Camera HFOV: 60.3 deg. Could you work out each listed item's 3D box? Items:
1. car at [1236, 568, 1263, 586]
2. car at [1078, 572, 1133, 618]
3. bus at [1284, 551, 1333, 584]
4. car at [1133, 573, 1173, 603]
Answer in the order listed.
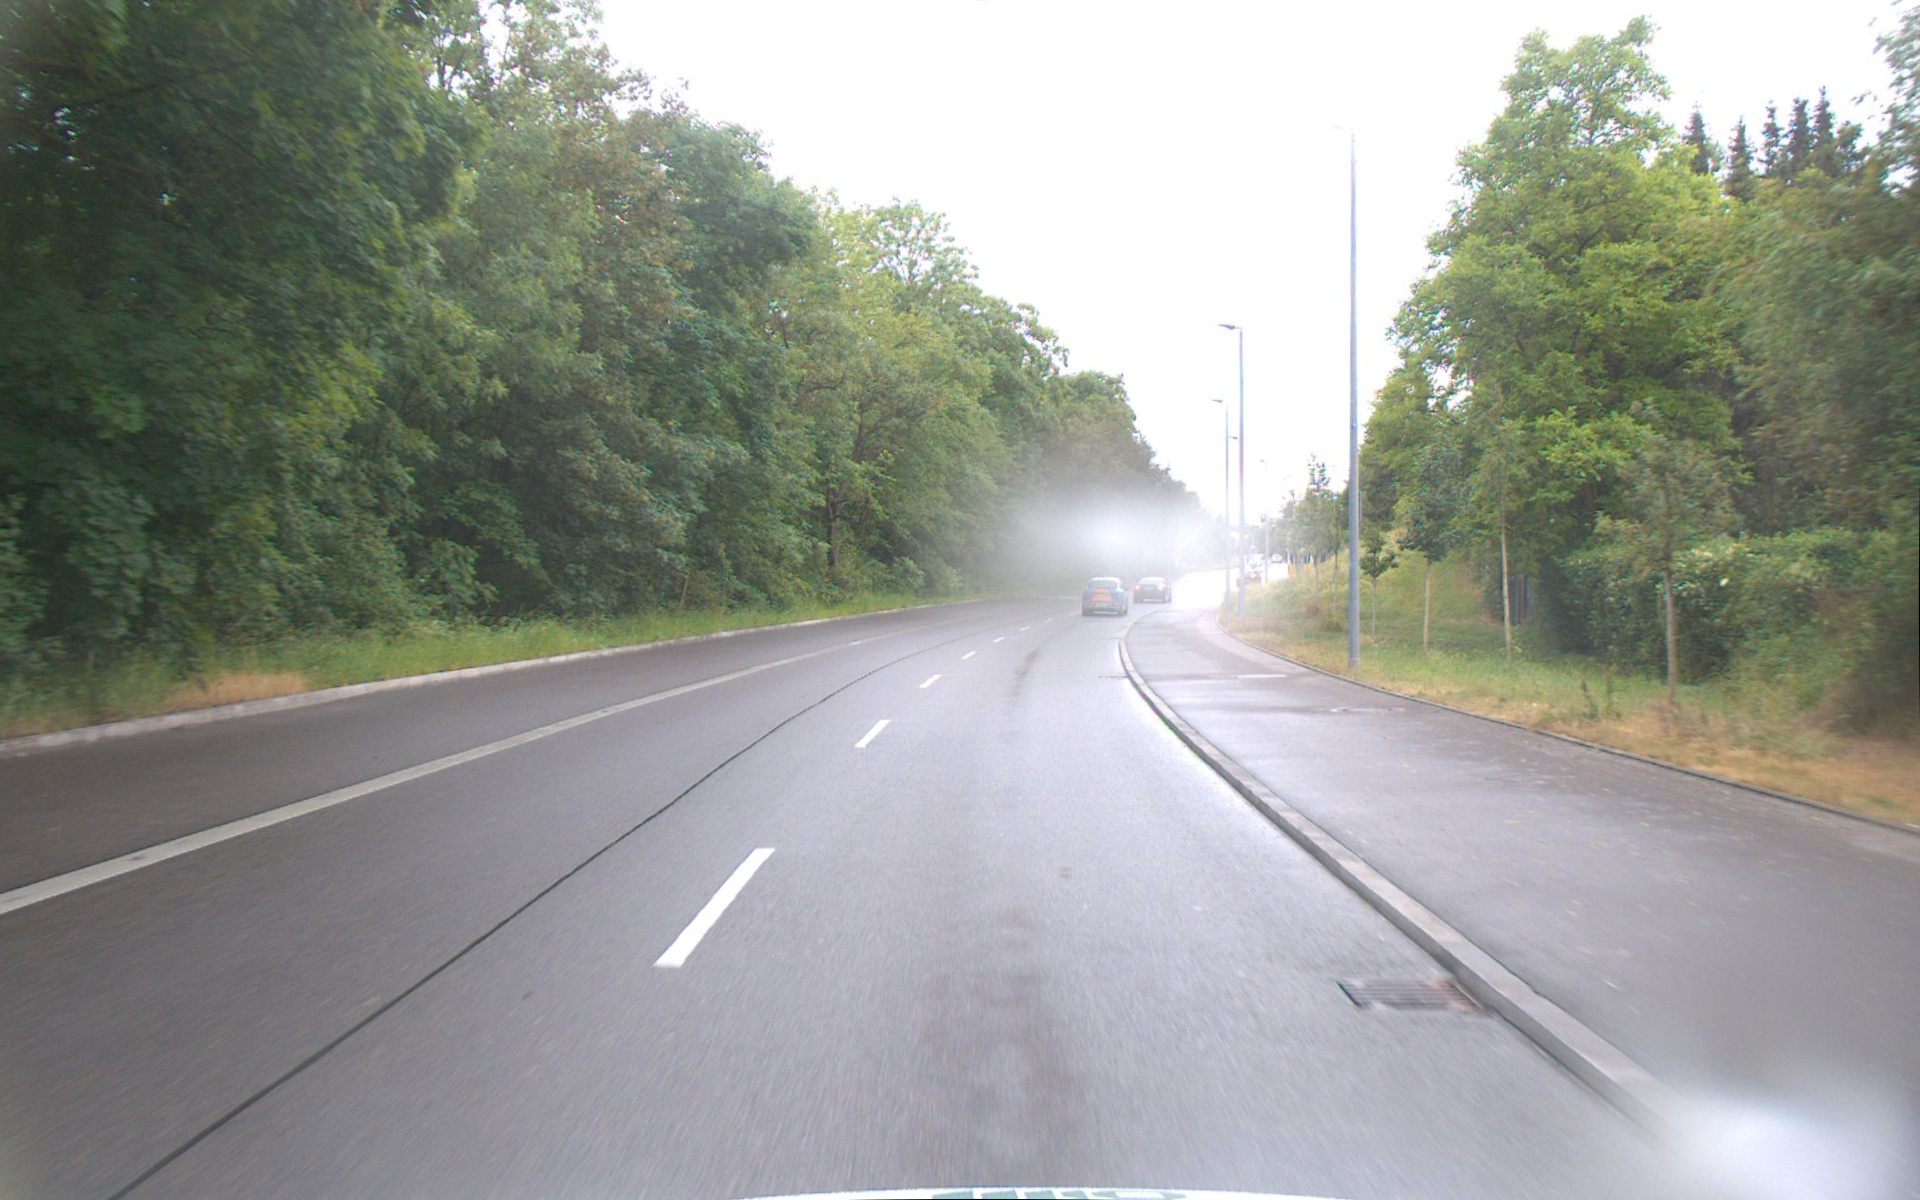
[{"bbox_3d":[25.065,-1.989,143.041,1.951,1.579,4.003,1,1,15],"label":"car"},{"bbox_3d":[6.147,-0.229,69.552,1.951,1.718,4.004,-1,2,9],"label":"car"},{"bbox_3d":[34.351,-3.175,162.662,2.760,3.197,9.176,1,1,24],"label":"bus"},{"bbox_3d":[10.715,-0.683,91.573,1.886,1.512,3.804,-1,2,12],"label":"car"}]
